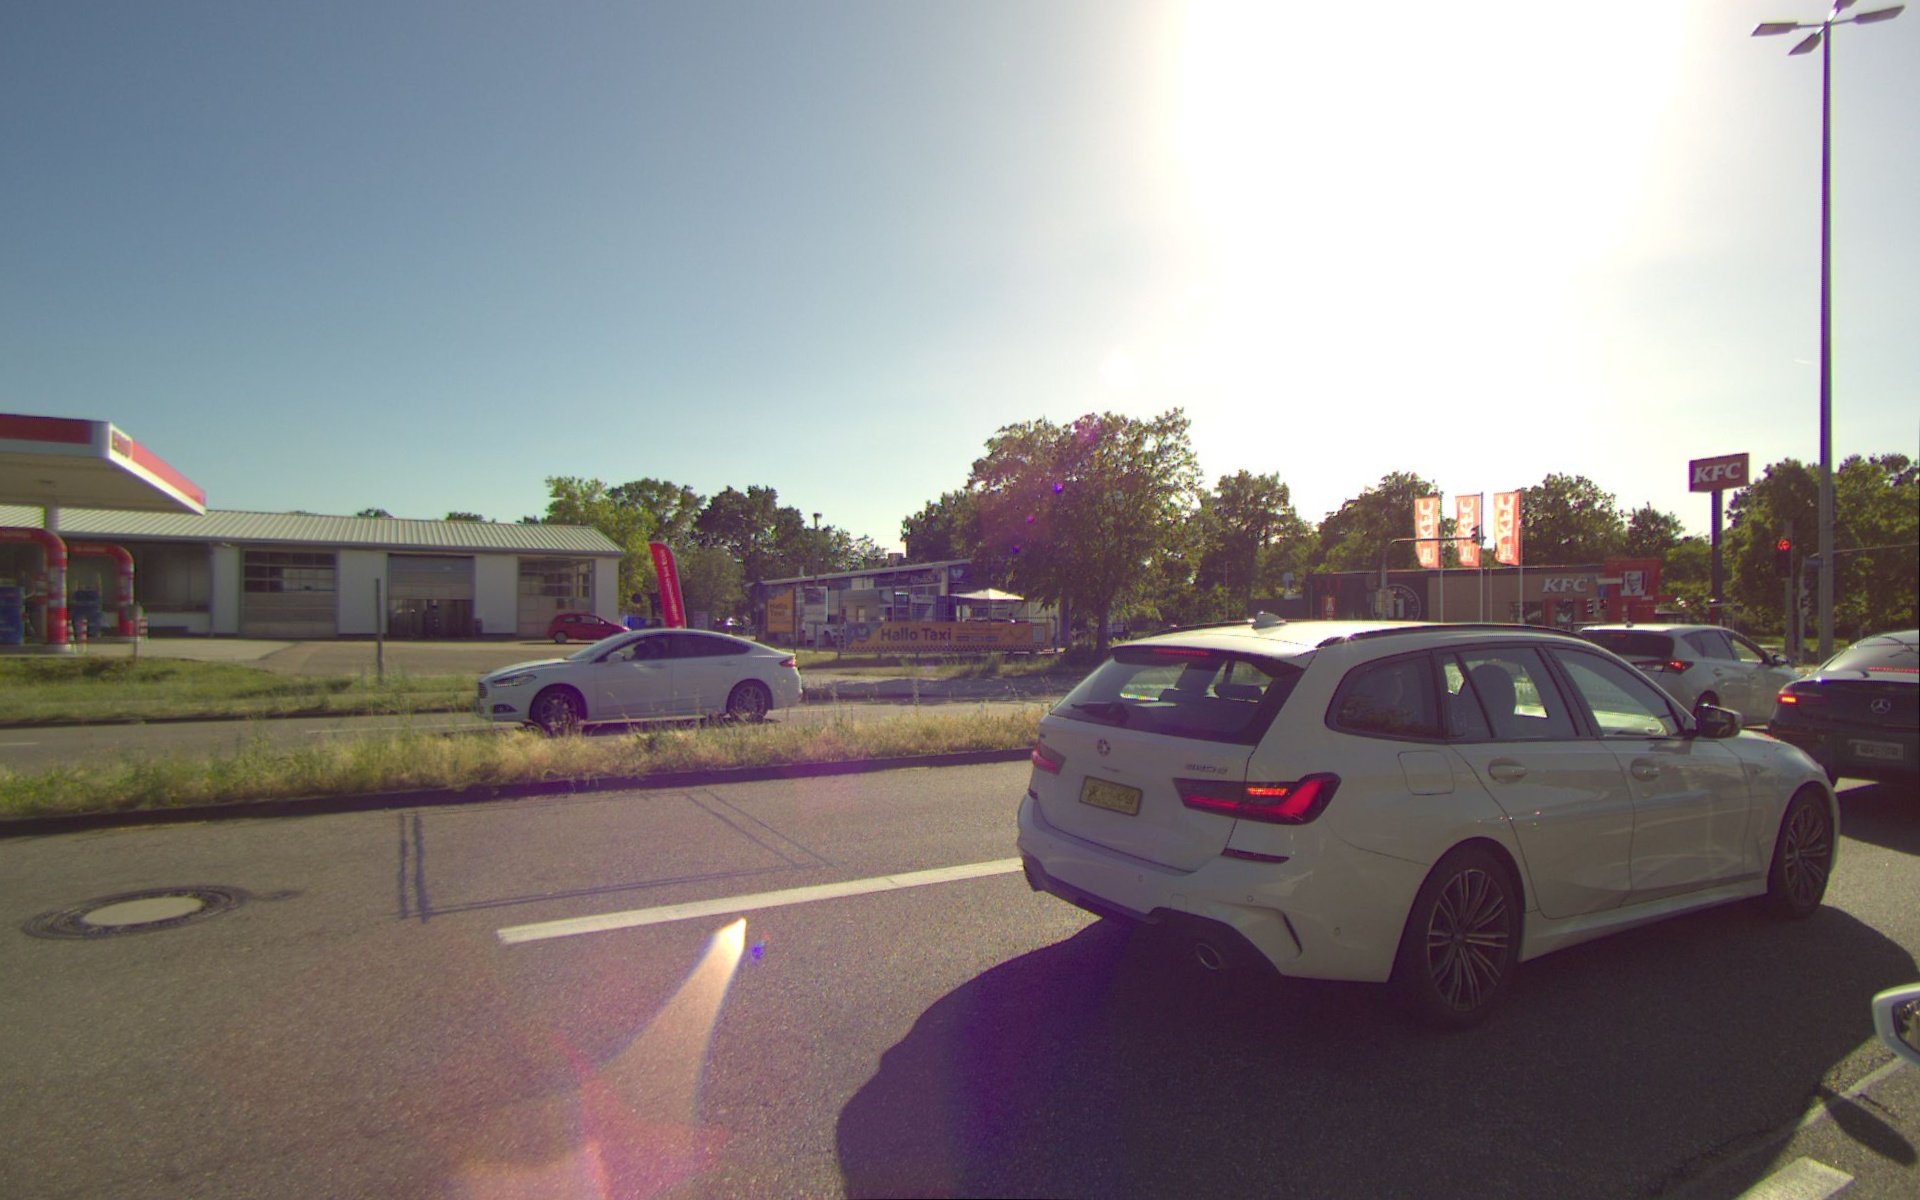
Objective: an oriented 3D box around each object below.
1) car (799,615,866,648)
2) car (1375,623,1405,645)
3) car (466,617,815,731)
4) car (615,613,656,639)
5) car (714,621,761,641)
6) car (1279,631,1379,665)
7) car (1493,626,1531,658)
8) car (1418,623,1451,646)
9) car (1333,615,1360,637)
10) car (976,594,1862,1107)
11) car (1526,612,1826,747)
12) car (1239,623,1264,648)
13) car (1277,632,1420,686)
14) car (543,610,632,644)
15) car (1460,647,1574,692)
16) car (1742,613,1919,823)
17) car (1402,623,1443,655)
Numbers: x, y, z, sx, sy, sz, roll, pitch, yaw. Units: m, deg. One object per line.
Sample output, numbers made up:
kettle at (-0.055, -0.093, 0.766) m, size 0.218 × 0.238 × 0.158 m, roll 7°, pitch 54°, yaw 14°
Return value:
car at (-6.795, 1.642, 53.184) m, size 1.978 × 1.584 × 3.964 m, roll 2°, pitch 0°, yaw -32°
car at (31.314, 2.442, 73.226) m, size 1.629 × 1.491 × 3.919 m, roll 2°, pitch 0°, yaw 18°
car at (-4.796, 1.108, 15.417) m, size 4.829 × 1.509 × 1.749 m, roll 2°, pitch -5°, yaw -34°
car at (-19.304, 1.542, 59.691) m, size 1.634 × 1.383 × 3.744 m, roll 2°, pitch 0°, yaw -29°
car at (-19.405, 2.715, 87.653) m, size 3.929 × 1.634 × 1.996 m, roll 2°, pitch 0°, yaw -11°
car at (17.273, 2.281, 47.275) m, size 1.742 × 1.510 × 4.395 m, roll 1°, pitch -3°, yaw -28°
car at (33.101, 2.471, 60.208) m, size 1.880 × 1.776 × 4.349 m, roll 2°, pitch 0°, yaw 29°
car at (33.946, 2.451, 71.953) m, size 1.629 × 1.491 × 3.919 m, roll 2°, pitch 0°, yaw 18°
car at (28.302, 1.891, 73.661) m, size 1.629 × 1.491 × 3.919 m, roll 2°, pitch 0°, yaw 18°
car at (2.394, 0.799, 4.881) m, size 4.353 × 1.510 × 1.776 m, roll 2°, pitch 0°, yaw -31°
car at (9.566, 0.981, 13.358) m, size 4.150 × 1.510 × 1.750 m, roll 2°, pitch 0°, yaw -31°
car at (21.823, 2.618, 75.159) m, size 1.629 × 1.695 × 3.945 m, roll 2°, pitch 0°, yaw 18°
car at (11.058, 1.671, 28.555) m, size 3.933 × 1.428 × 1.750 m, roll 2°, pitch -4°, yaw -31°
car at (-18.336, 1.332, 49.412) m, size 3.946 × 1.537 × 1.772 m, roll 2°, pitch 0°, yaw -25°
car at (18.819, 2.302, 33.890) m, size 4.265 × 1.428 × 1.717 m, roll 2°, pitch -4°, yaw -36°
car at (8.785, 0.932, 8.644) m, size 4.425 × 1.510 × 1.787 m, roll 2°, pitch 0°, yaw -31°
car at (28.355, 2.340, 61.525) m, size 1.964 × 1.788 × 4.349 m, roll 2°, pitch 0°, yaw 29°
